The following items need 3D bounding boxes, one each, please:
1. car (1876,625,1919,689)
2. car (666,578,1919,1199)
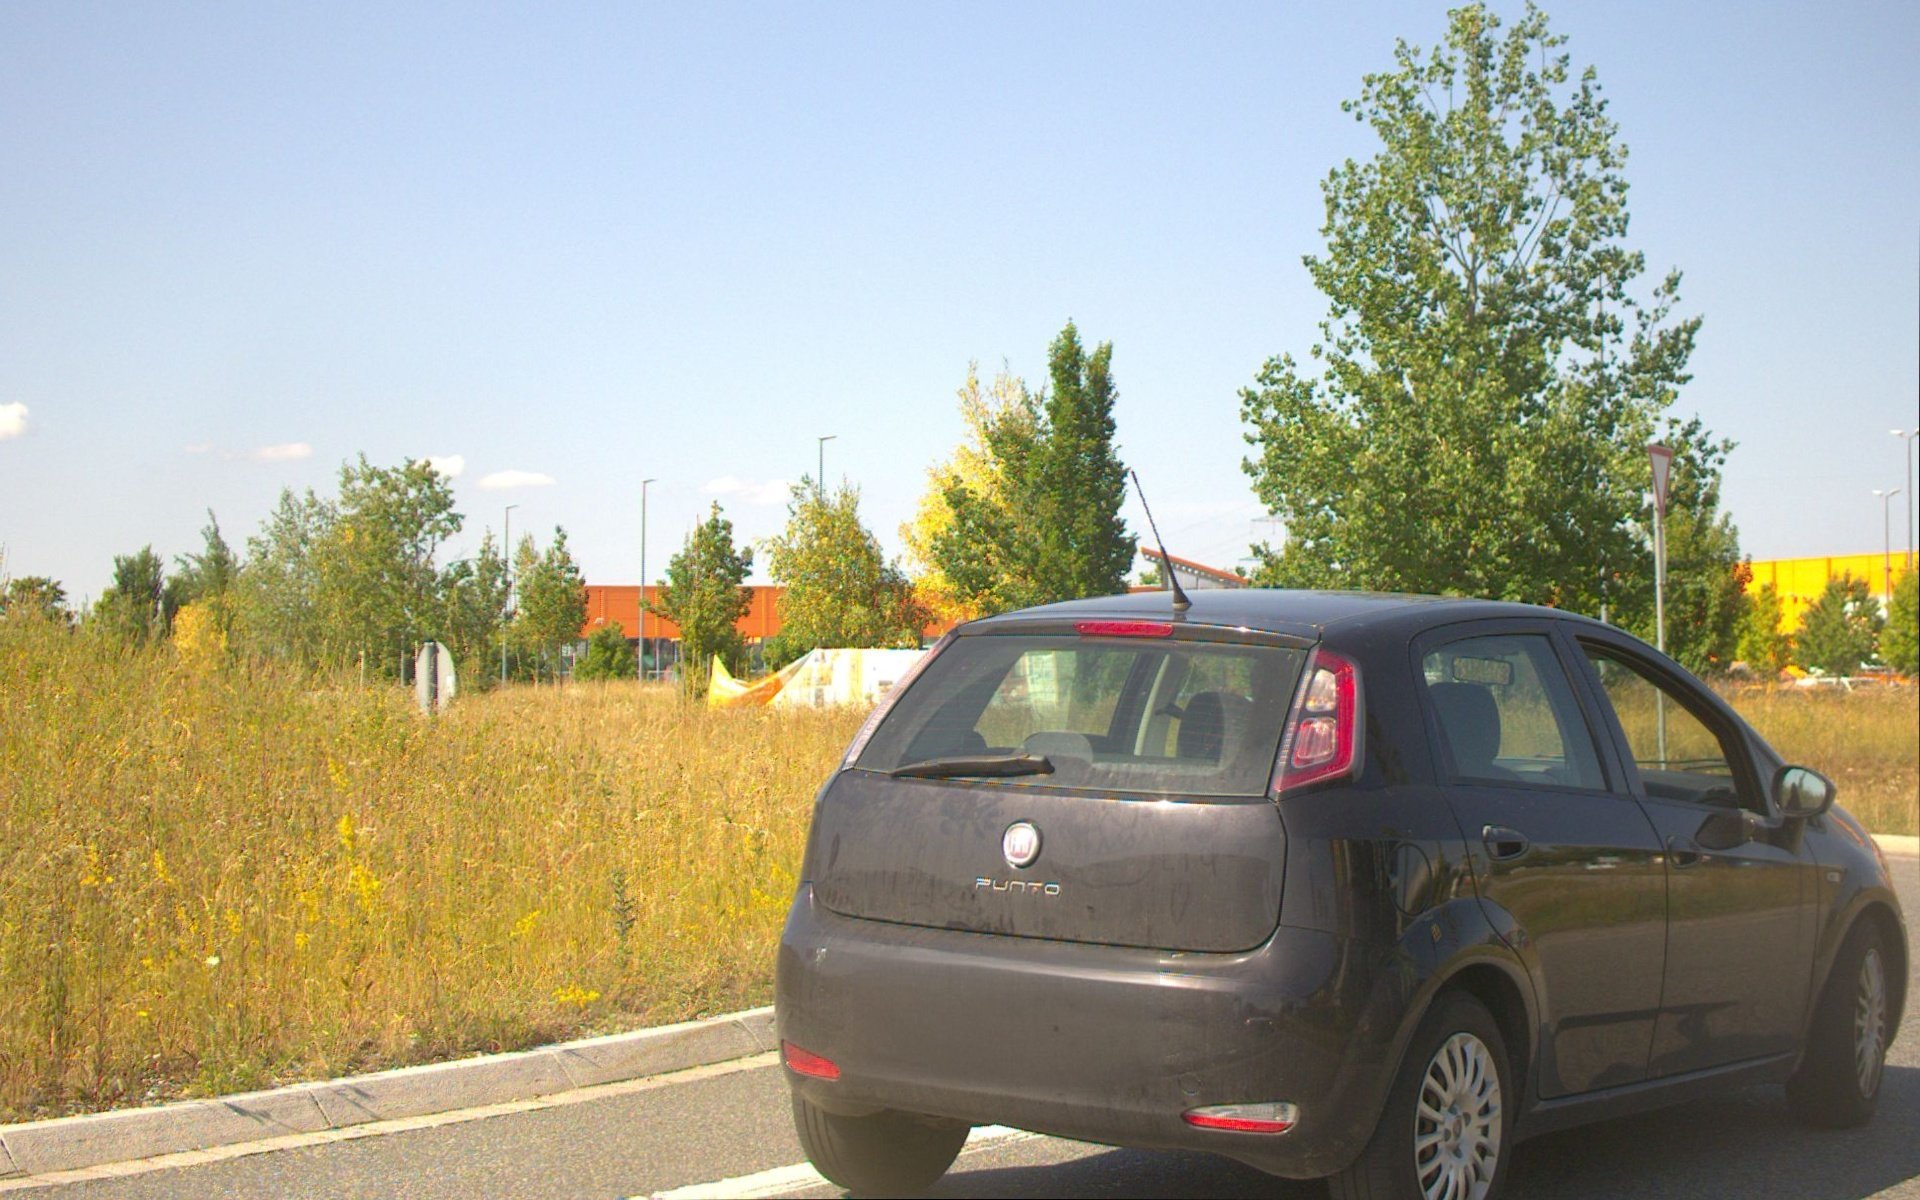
[{"bbox_3d":[25.425,1.425,87.053,1.993,1.612,3.999,1,-2,-33],"label":"car"},{"bbox_3d":[1.183,0.723,8.874,1.643,1.482,3.895,0,-1,38],"label":"car"}]
